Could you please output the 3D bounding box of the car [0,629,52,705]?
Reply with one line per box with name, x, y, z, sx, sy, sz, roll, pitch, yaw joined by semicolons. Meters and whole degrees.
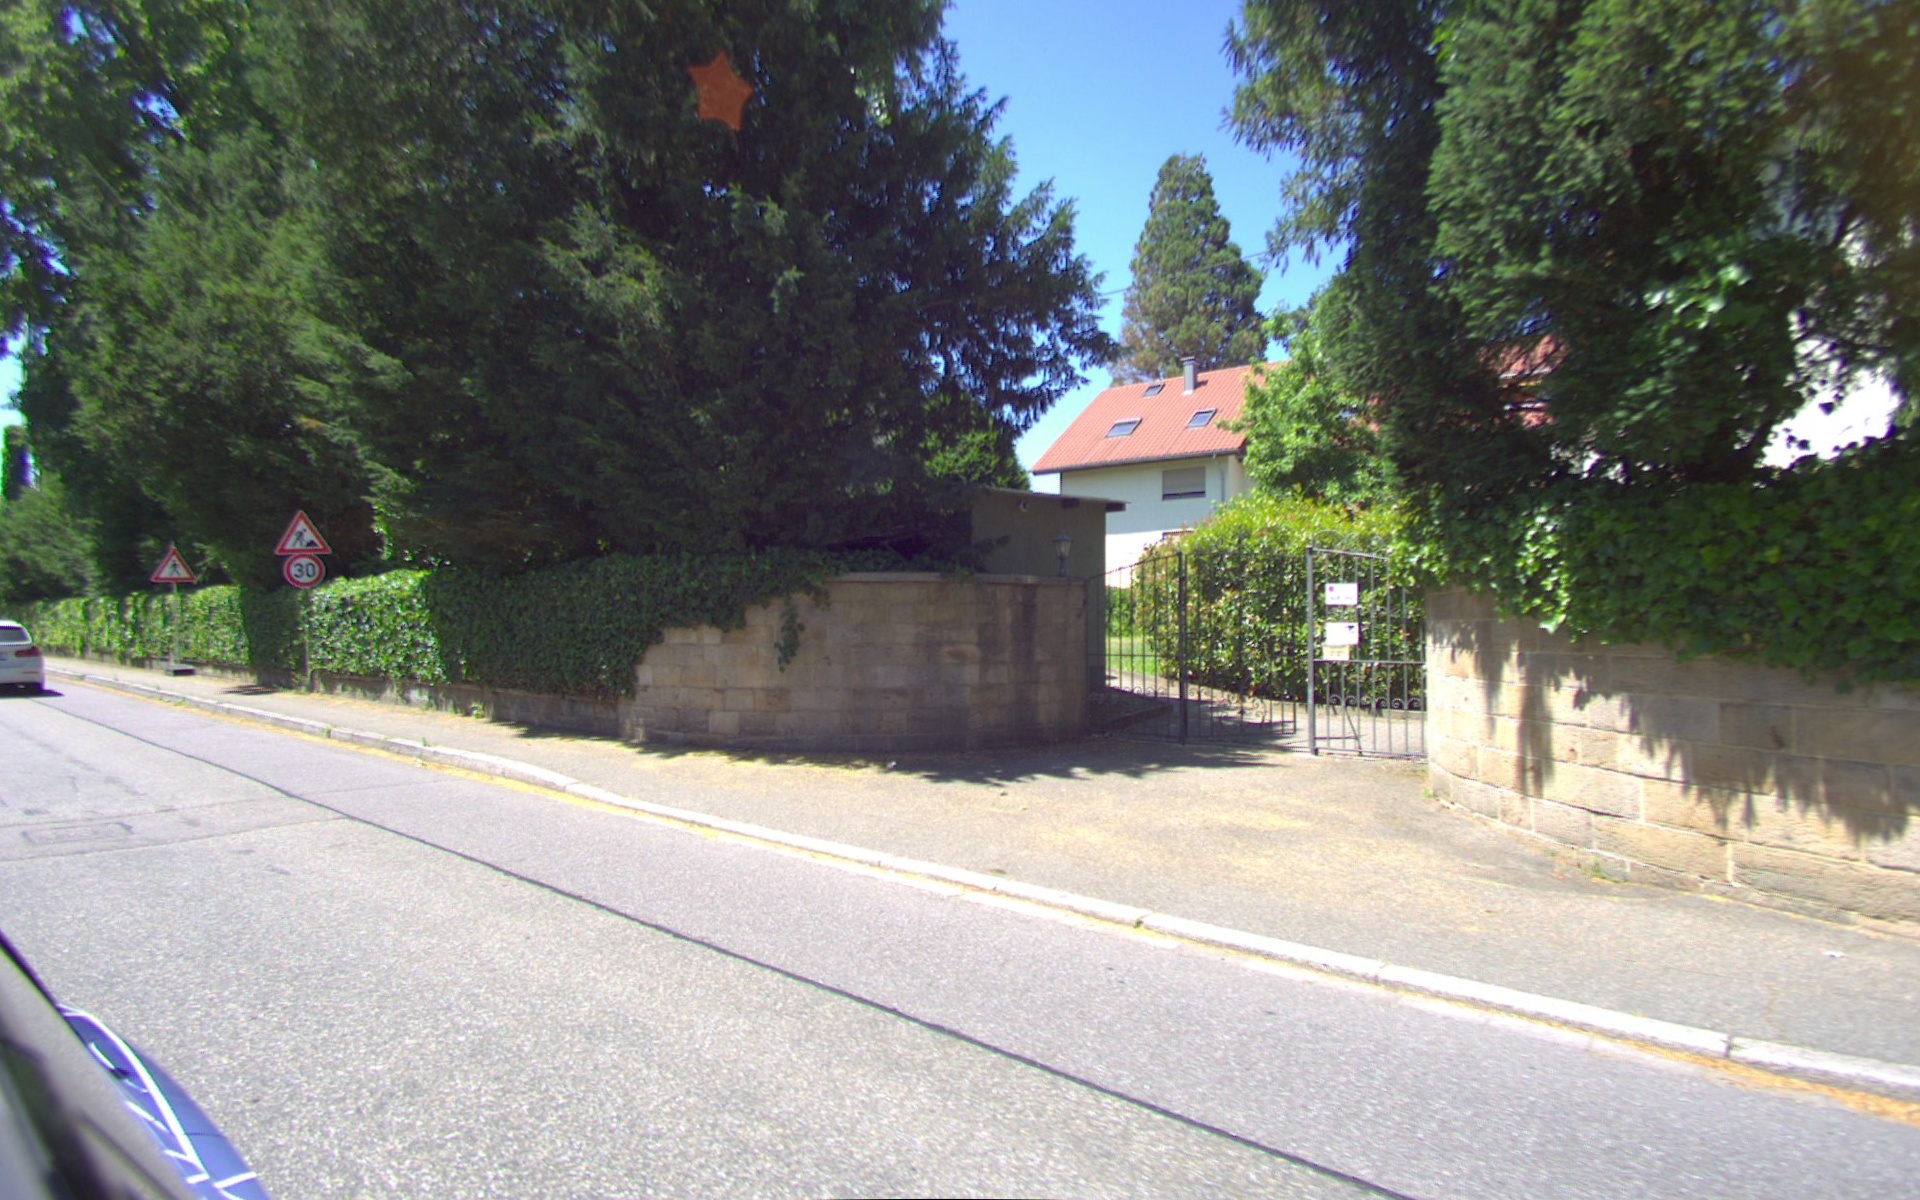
car;-19.436;1.268;19.821;4.601;1.394;1.845;-2;-4;41
